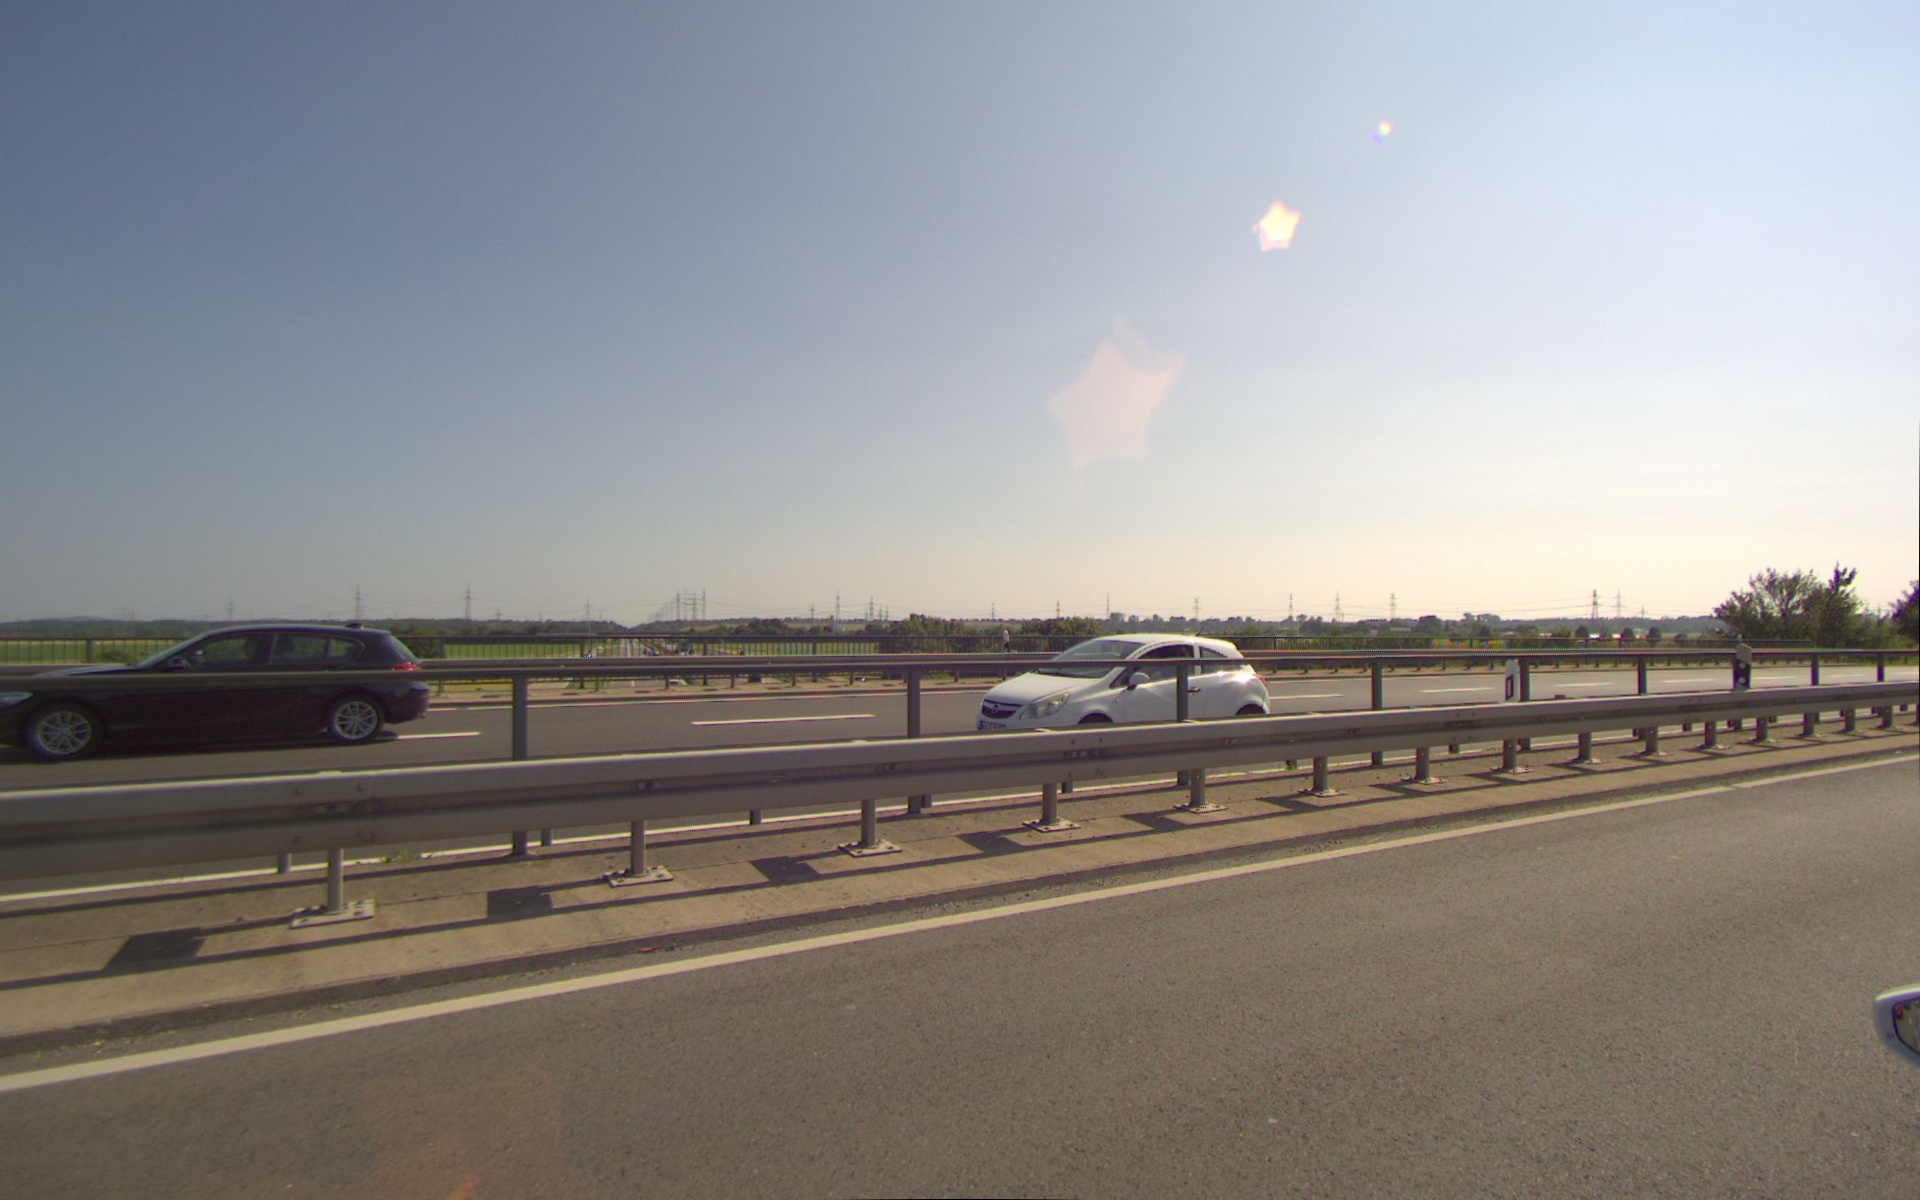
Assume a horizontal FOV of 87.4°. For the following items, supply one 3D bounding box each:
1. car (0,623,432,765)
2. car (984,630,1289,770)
[{"bbox_3d":[-8.727,1.012,12.191,3.957,1.402,1.769,1,0,-33],"label":"car"},{"bbox_3d":[2.237,1.131,12.448,3.628,1.436,1.543,1,0,-32],"label":"car"}]
